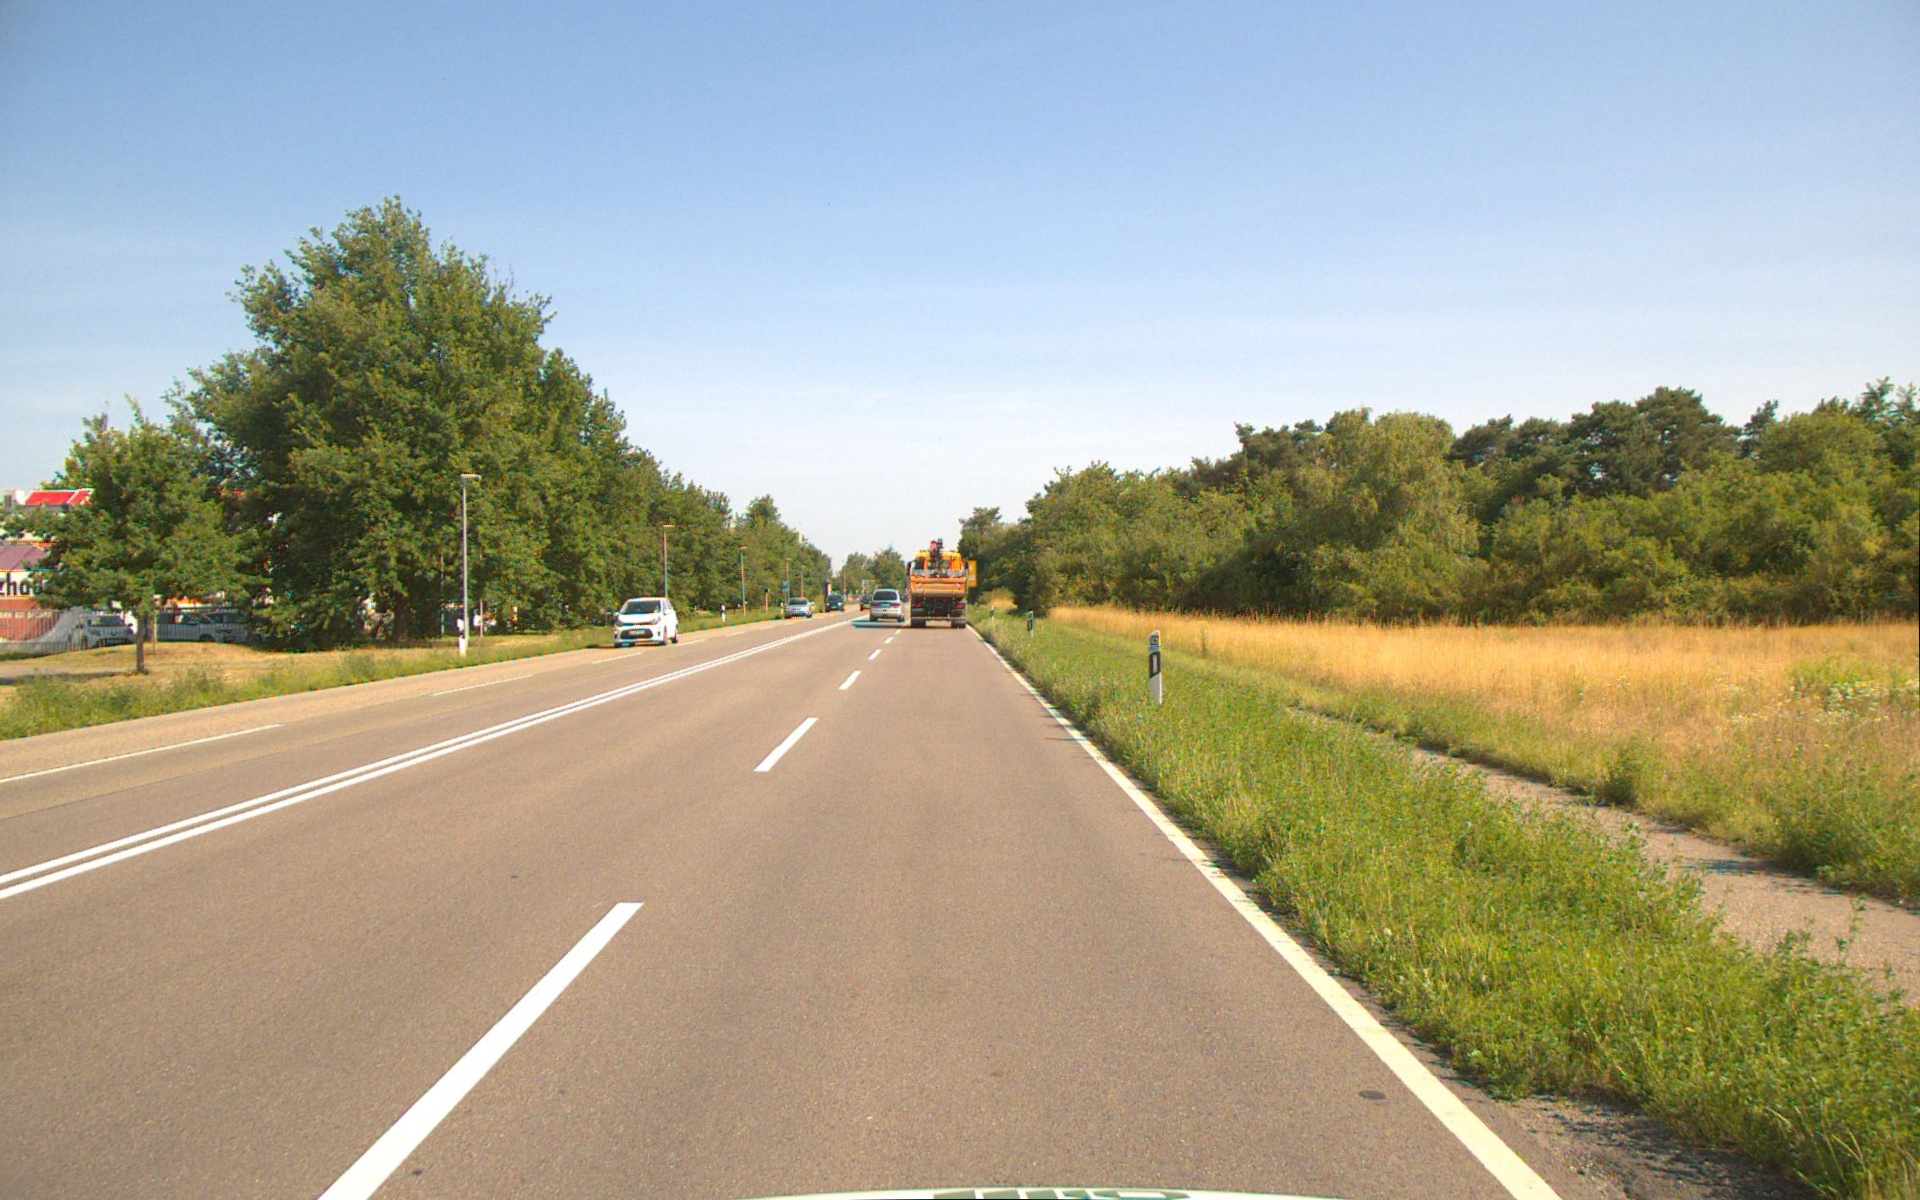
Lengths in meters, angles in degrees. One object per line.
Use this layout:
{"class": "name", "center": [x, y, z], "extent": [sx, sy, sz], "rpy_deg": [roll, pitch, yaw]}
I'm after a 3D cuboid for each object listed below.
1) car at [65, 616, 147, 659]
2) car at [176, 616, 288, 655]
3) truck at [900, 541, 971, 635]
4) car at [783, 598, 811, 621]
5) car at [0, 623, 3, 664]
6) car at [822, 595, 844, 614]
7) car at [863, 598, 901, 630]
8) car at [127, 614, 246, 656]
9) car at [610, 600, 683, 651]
{"class": "car", "center": [-32.519, 1.415, 62.945], "extent": [1.727, 1.527, 3.935], "rpy_deg": [-1, 0, -44]}
{"class": "car", "center": [-30.849, 1.483, 70.170], "extent": [3.906, 1.527, 1.757], "rpy_deg": [-1, 0, -2]}
{"class": "truck", "center": [-1.177, -0.520, 74.005], "extent": [2.815, 3.948, 7.395], "rpy_deg": [1, 0, -3]}
{"class": "car", "center": [-11.319, 0.664, 114.936], "extent": [1.566, 1.467, 3.999], "rpy_deg": [-3, 0, -1]}
{"class": "car", "center": [-33.935, 1.525, 55.437], "extent": [1.603, 1.414, 3.721], "rpy_deg": [-1, 0, -2]}
{"class": "car", "center": [-12.124, 0.435, 158.117], "extent": [1.789, 1.701, 4.388], "rpy_deg": [-3, 0, -2]}
{"class": "car", "center": [-4.150, 0.718, 88.076], "extent": [1.954, 1.611, 3.998], "rpy_deg": [0, 0, -3]}
{"class": "car", "center": [-30.863, 1.388, 66.076], "extent": [3.906, 1.527, 1.757], "rpy_deg": [-1, 0, -2]}
{"class": "car", "center": [-9.864, 0.779, 52.289], "extent": [1.625, 1.462, 3.734], "rpy_deg": [-3, 0, -1]}
